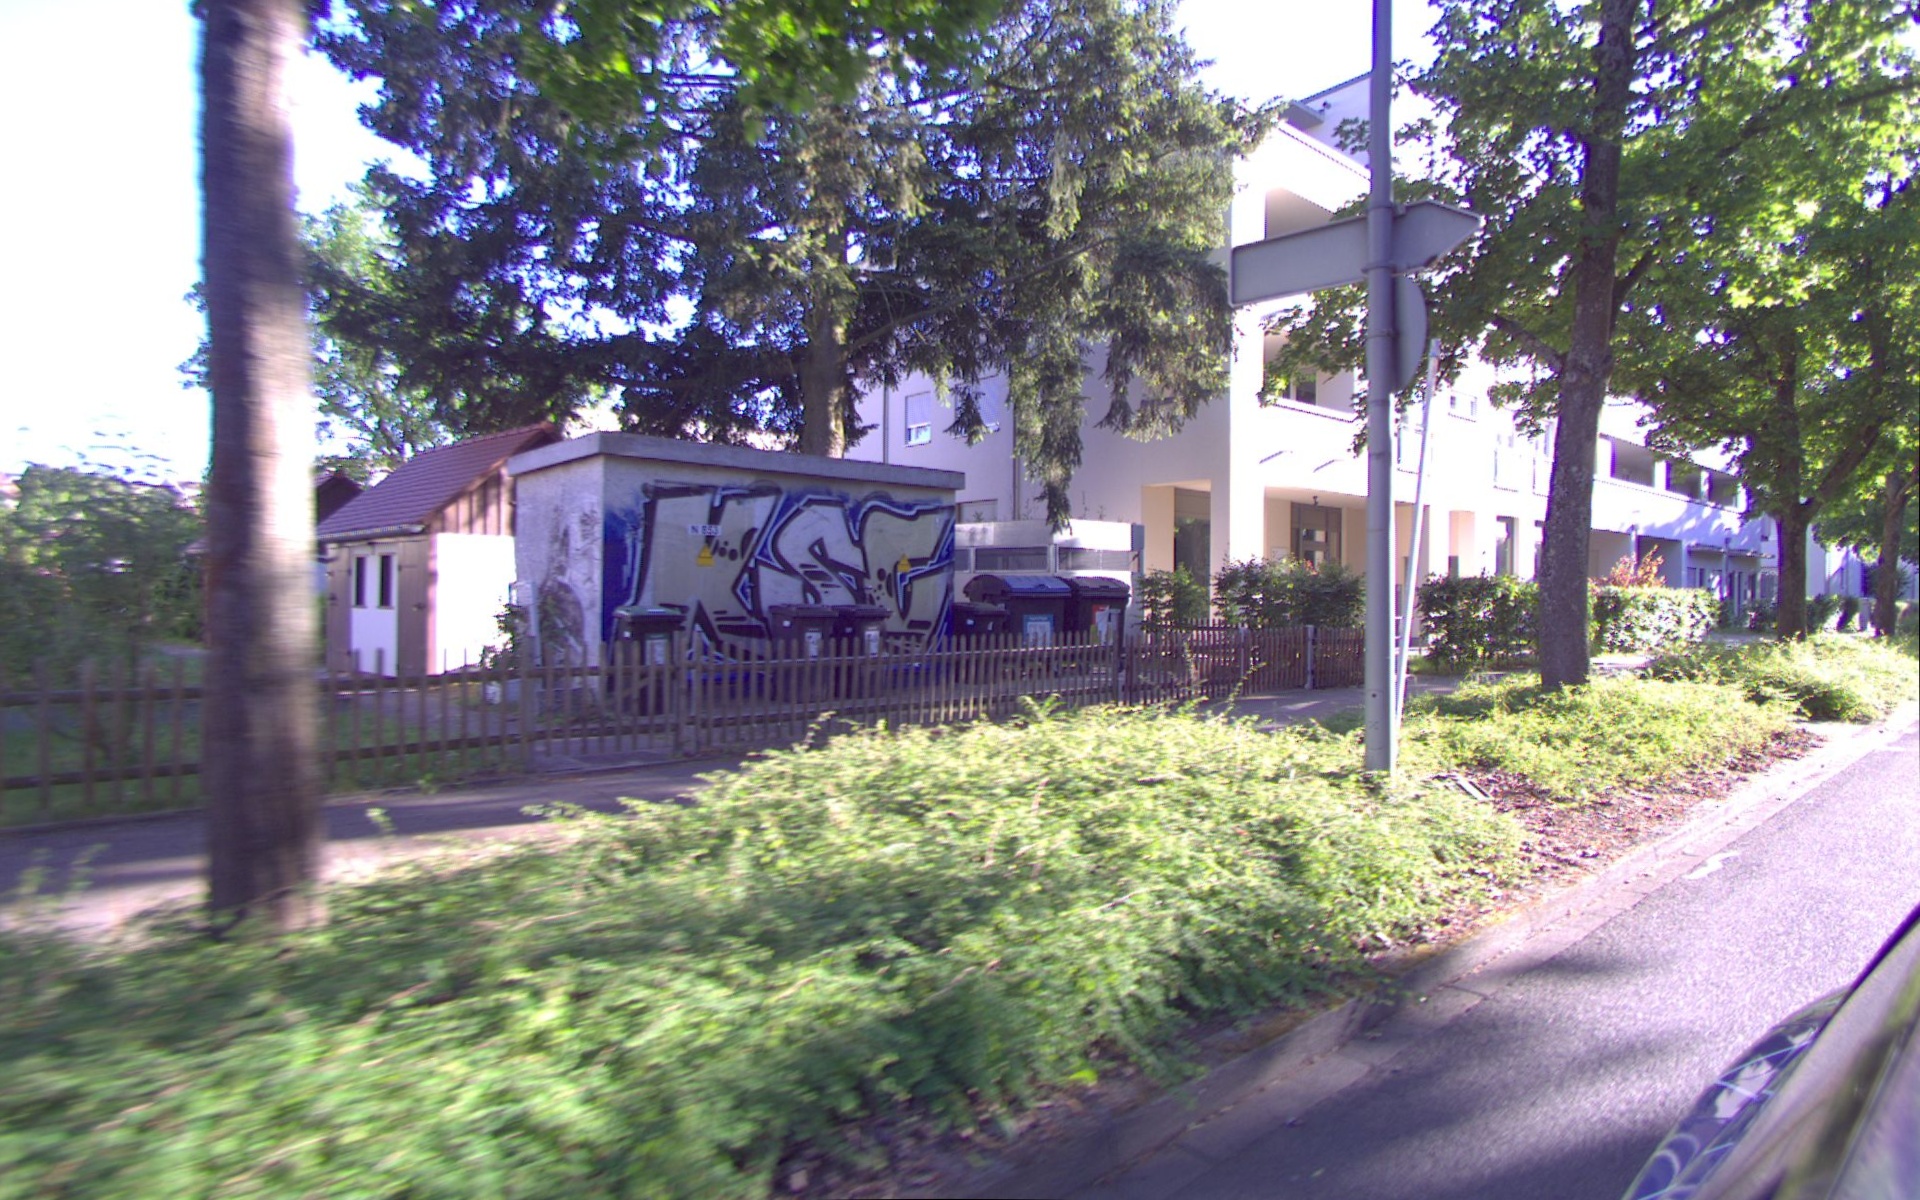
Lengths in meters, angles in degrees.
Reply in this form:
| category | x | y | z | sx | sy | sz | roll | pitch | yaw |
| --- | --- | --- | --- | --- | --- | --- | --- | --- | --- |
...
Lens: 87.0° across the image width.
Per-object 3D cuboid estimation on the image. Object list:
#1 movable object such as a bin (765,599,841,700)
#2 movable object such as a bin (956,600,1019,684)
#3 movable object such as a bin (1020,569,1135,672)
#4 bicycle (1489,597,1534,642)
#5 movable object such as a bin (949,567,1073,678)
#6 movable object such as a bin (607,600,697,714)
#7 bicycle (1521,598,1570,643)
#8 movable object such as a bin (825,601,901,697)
| category | x | y | z | sx | sy | sz | roll | pitch | yaw |
| --- | --- | --- | --- | --- | --- | --- | --- | --- | --- |
| movable object such as a bin | -1.734 | 0.527 | 11.176 | 0.584 | 1.042 | 0.615 | 0 | 2 | -42 |
| movable object such as a bin | 0.359 | 0.531 | 13.266 | 0.604 | 1.042 | 0.538 | 0 | 2 | -42 |
| movable object such as a bin | 1.771 | 0.279 | 15.196 | 1.343 | 1.444 | 1.080 | 0 | 2 | -42 |
| bicycle | 14.219 | 0.486 | 26.062 | 1.756 | 1.125 | 0.419 | -1 | 0 | -41 |
| movable object such as a bin | 0.715 | 0.280 | 14.251 | 1.363 | 1.448 | 1.080 | 0 | 2 | -42 |
| movable object such as a bin | -3.041 | 0.536 | 9.995 | 0.634 | 1.042 | 0.644 | 0 | 2 | -42 |
| bicycle | 14.859 | 0.501 | 25.651 | 2.076 | 1.101 | 0.419 | -1 | 0 | -41 |
| movable object such as a bin | -1.117 | 0.542 | 11.699 | 0.630 | 1.042 | 0.607 | 0 | 2 | -42 |
